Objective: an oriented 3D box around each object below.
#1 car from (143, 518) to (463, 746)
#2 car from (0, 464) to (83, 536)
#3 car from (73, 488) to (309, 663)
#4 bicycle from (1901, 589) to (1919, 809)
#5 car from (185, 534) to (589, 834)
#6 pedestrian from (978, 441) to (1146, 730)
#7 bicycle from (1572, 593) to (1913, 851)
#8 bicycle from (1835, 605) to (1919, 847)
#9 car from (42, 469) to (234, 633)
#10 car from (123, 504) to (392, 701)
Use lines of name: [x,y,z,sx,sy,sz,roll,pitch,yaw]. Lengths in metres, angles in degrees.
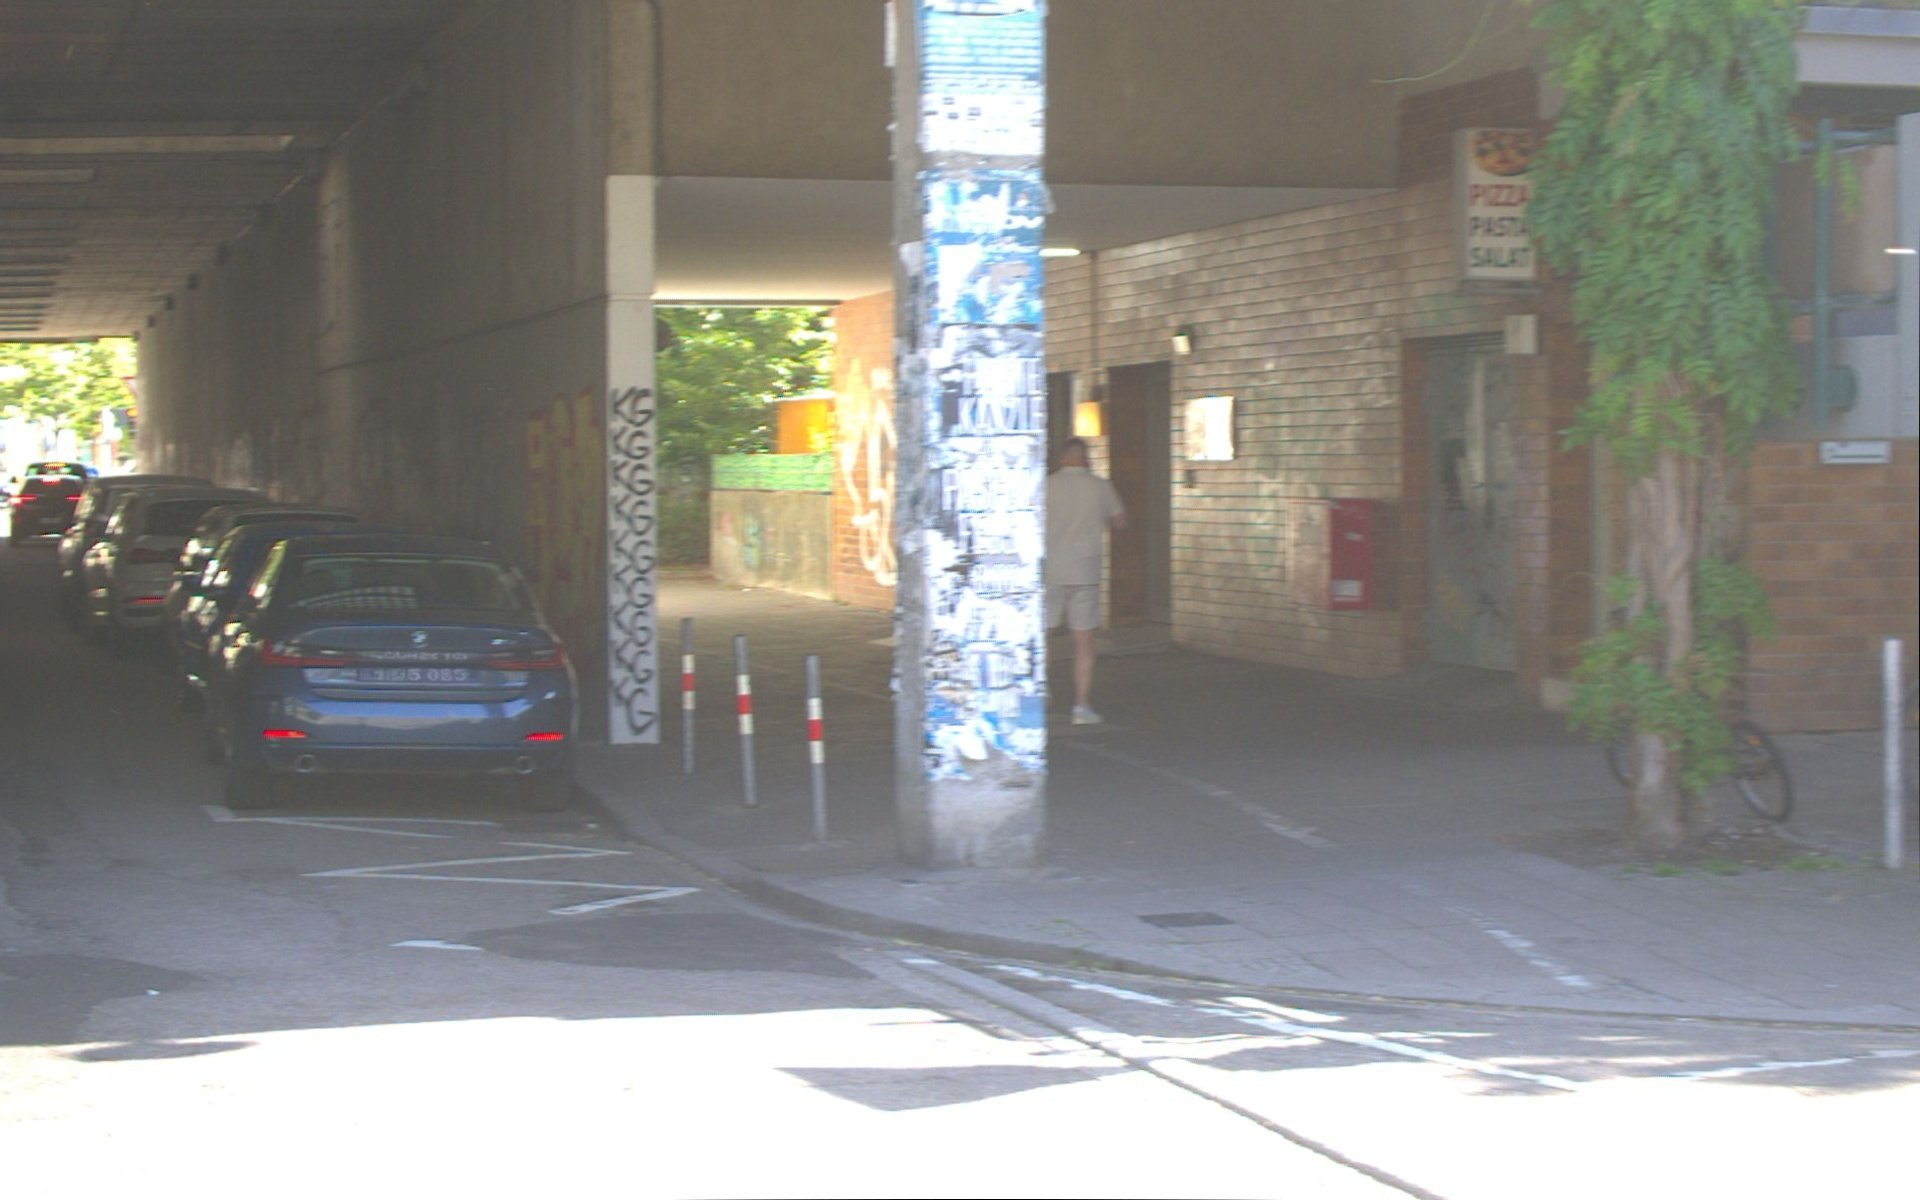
car: [-4.655,0.150,23.954,1.761,1.406,4.065,-1,2,-17]
car: [-19.979,-2.197,74.492,1.825,1.495,4.213,-1,3,-15]
car: [-7.395,-0.284,32.799,1.729,1.540,4.157,-1,2,-19]
bicycle: [4.889,0.497,15.103,0.414,0.997,1.803,-2,4,-23]
car: [-3.351,0.386,19.396,1.851,1.428,4.609,1,1,-14]
pedestrian: [0.610,-0.107,20.855,0.793,1.693,0.758,-1,4,-17]
bicycle: [3.431,0.507,15.233,0.483,0.997,1.803,-2,3,-24]
bicycle: [4.504,0.570,14.573,0.414,0.997,1.617,-4,5,-38]
car: [-9.169,-0.590,38.120,1.852,1.660,4.373,0,3,-16]
car: [-5.817,-0.032,28.201,1.603,1.482,3.639,-1,2,-20]
